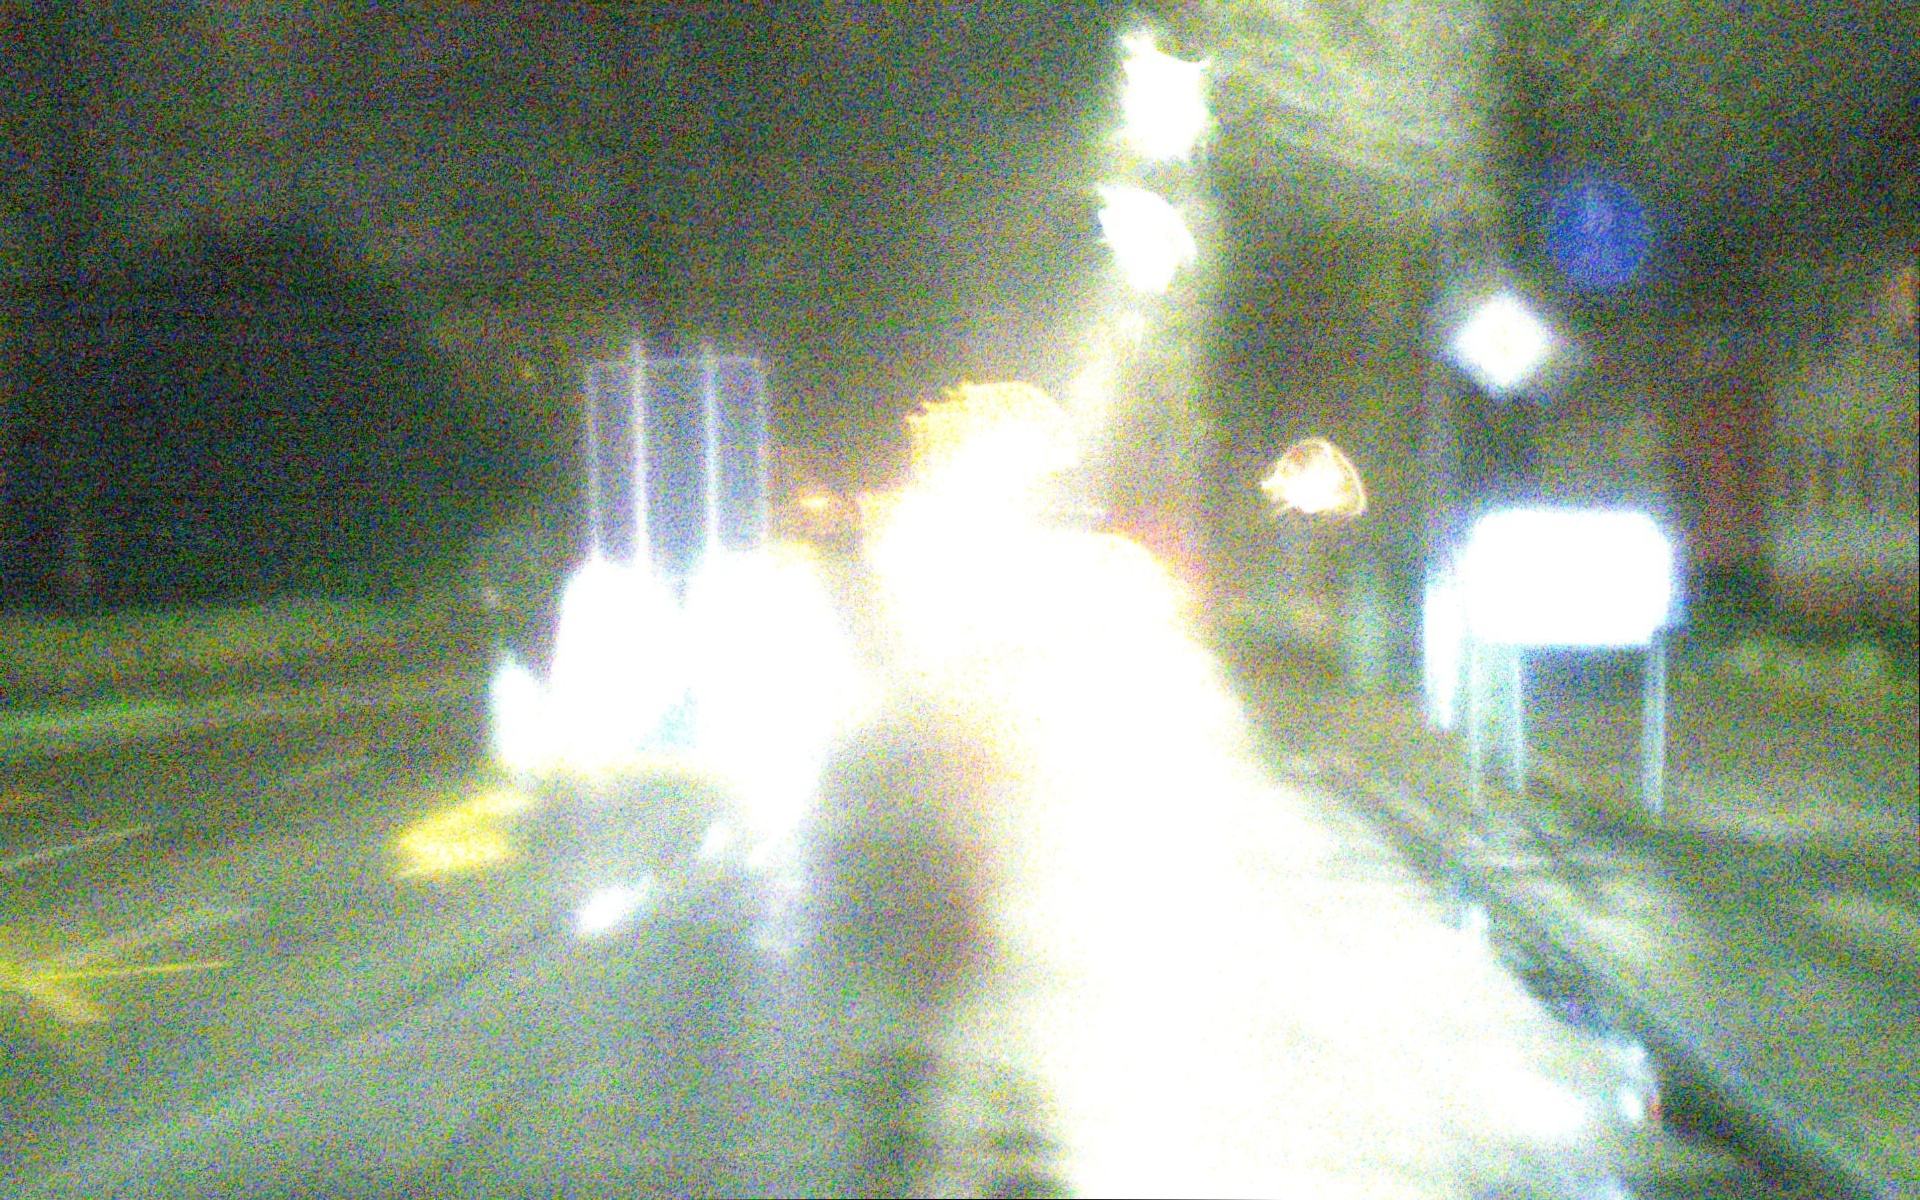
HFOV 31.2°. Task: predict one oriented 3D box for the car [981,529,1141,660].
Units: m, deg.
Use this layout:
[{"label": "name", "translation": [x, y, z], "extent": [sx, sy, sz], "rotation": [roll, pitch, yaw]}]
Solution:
[{"label": "car", "translation": [1.360, -0.094, 47.717], "extent": [1.993, 1.678, 4.000], "rotation": [2, 1, -1]}]
